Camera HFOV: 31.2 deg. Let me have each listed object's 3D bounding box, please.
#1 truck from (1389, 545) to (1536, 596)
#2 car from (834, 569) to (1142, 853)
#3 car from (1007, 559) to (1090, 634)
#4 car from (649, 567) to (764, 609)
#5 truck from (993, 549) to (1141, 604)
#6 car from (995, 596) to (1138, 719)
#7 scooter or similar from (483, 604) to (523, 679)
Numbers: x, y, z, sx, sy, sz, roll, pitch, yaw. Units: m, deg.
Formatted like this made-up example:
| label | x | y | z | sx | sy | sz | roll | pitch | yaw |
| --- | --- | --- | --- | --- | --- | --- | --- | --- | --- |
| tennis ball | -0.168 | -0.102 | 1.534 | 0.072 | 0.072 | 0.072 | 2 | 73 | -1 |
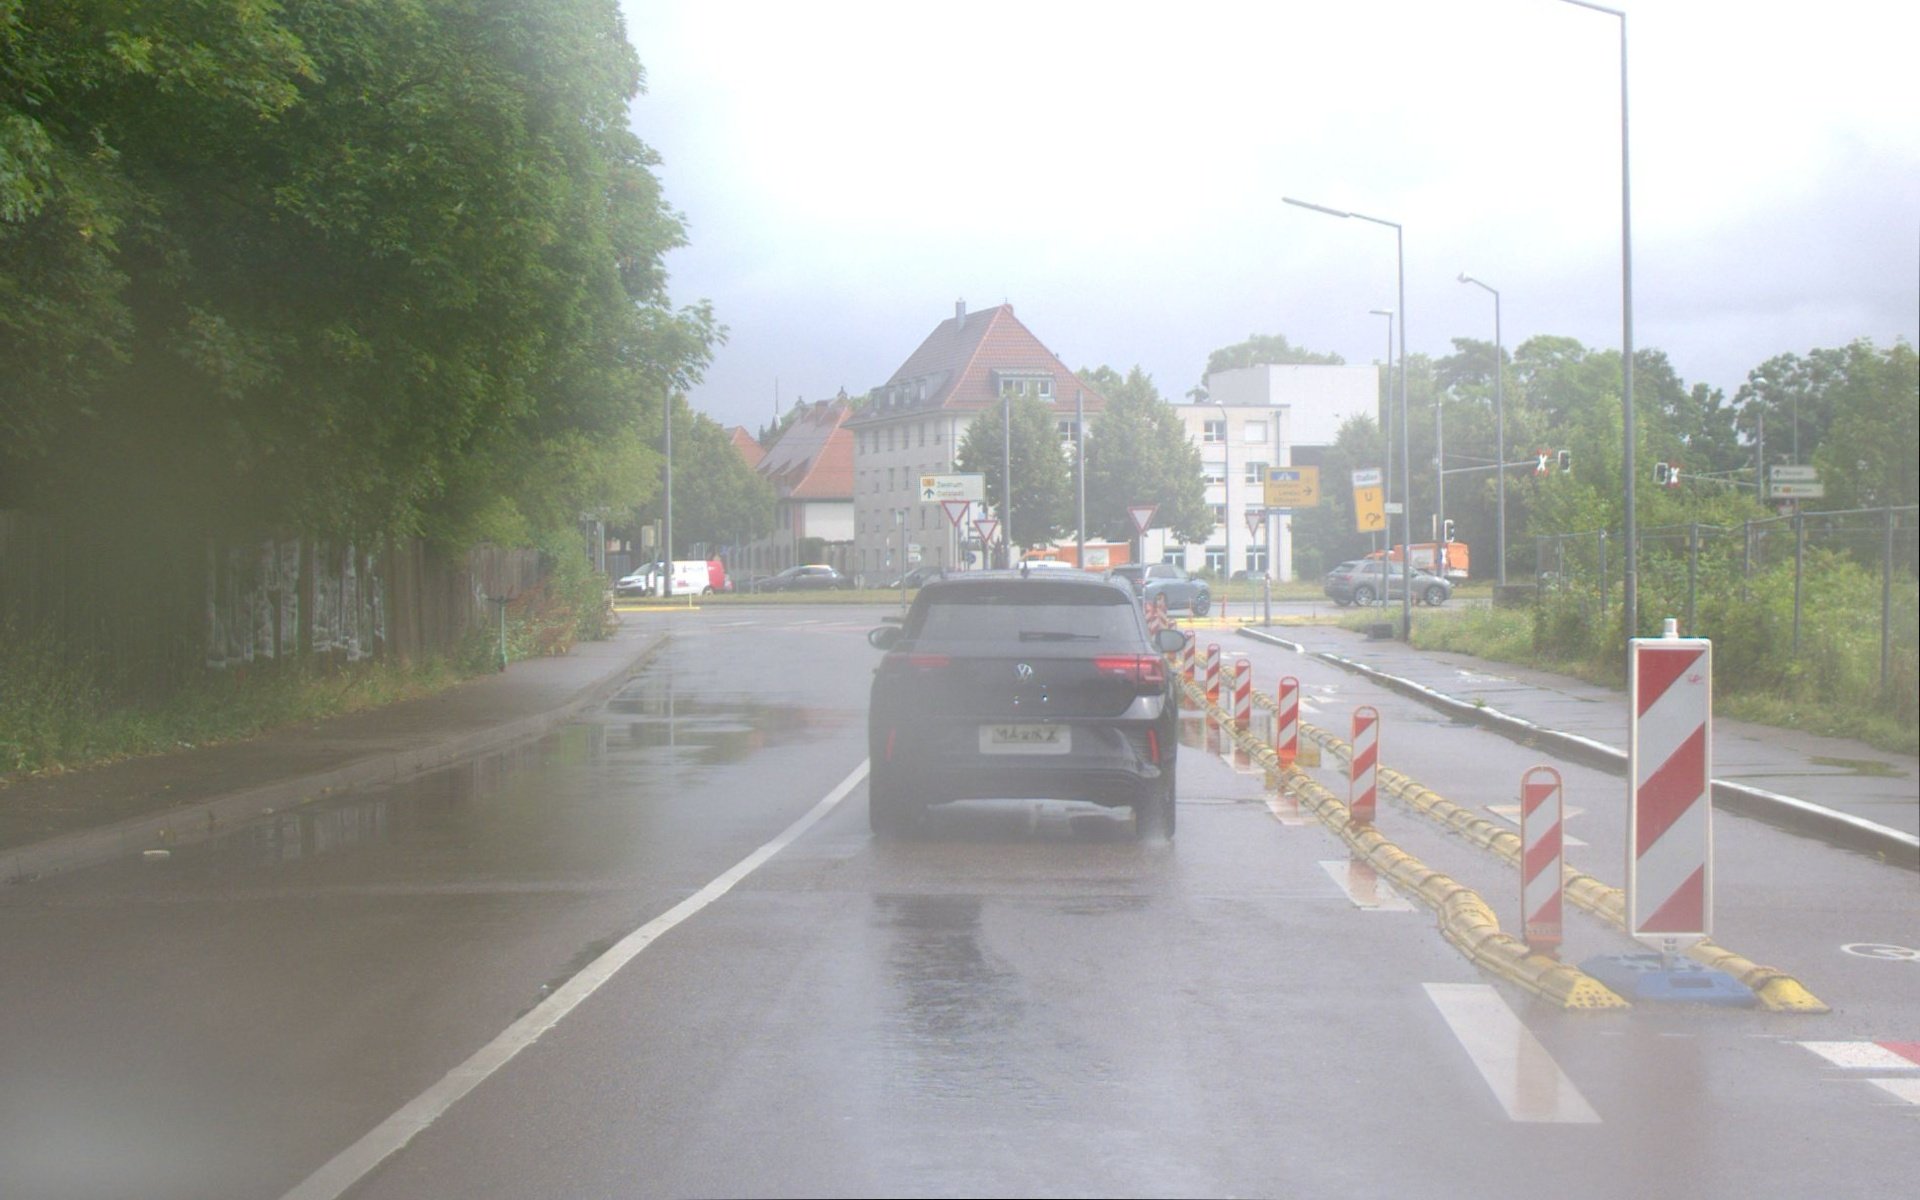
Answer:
| label | x | y | z | sx | sy | sz | roll | pitch | yaw |
| --- | --- | --- | --- | --- | --- | --- | --- | --- | --- |
| truck | 24.512 | -1.442 | 167.784 | 6.714 | 2.434 | 2.430 | 0 | 0 | 32 |
| car | 0.117 | 0.617 | 21.072 | 1.708 | 1.568 | 3.683 | 1 | 0 | -1 |
| car | 2.152 | -0.114 | 84.939 | 1.864 | 1.803 | 4.404 | 0 | 0 | -1 |
| car | -11.759 | -0.568 | 159.811 | 5.117 | 1.870 | 1.894 | -1 | 1 | -37 |
| truck | 5.192 | -1.134 | 166.107 | 7.067 | 2.641 | 2.329 | 0 | 0 | 4 |
| car | 1.350 | 0.721 | 44.827 | 1.735 | 1.509 | 3.604 | 0 | 0 | 0 |
| scooter or similar | -7.173 | 0.641 | 53.985 | 0.562 | 1.158 | 1.208 | 0 | 0 | -6 |
